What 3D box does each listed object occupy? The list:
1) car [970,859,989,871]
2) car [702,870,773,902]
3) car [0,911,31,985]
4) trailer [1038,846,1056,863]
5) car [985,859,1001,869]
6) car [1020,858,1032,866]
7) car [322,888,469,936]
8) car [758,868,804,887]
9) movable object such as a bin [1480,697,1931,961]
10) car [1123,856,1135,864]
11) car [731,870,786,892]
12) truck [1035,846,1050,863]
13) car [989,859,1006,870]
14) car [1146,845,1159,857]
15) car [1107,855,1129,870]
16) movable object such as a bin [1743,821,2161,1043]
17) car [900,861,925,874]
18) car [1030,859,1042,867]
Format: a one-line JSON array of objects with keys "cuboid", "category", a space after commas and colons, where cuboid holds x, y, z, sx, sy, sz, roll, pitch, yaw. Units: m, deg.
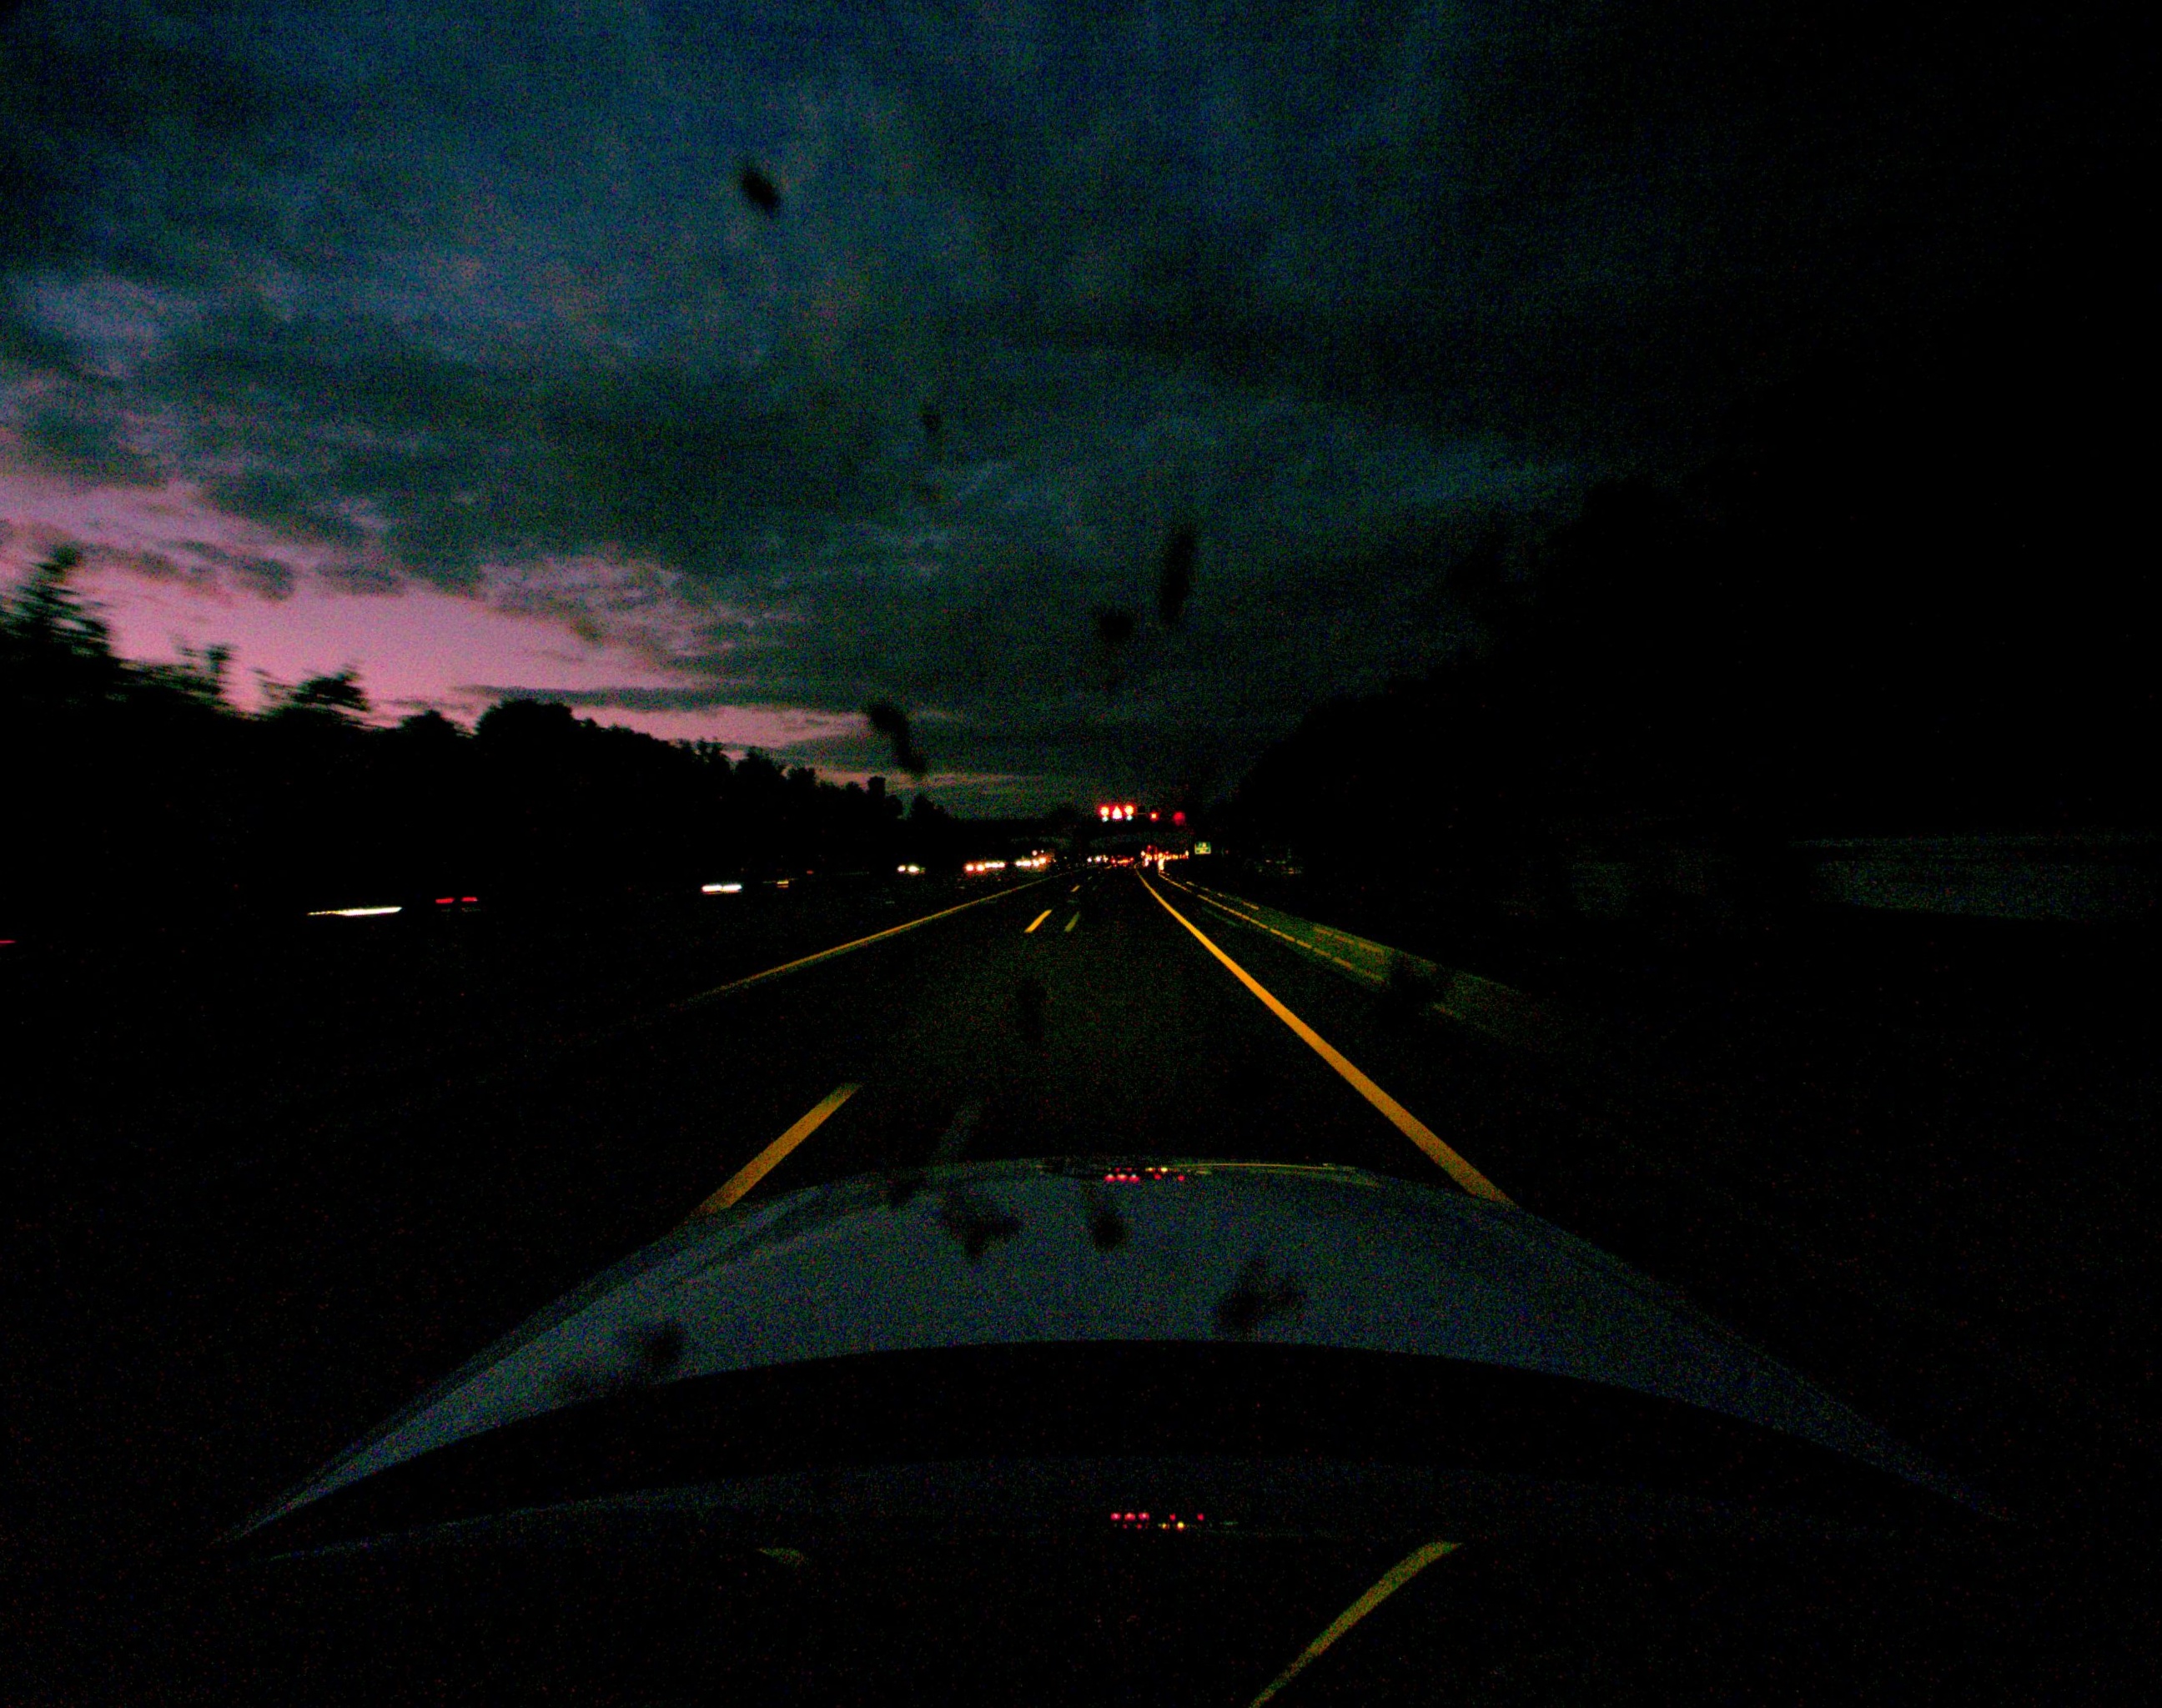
[{"cuboid": [-14.148, 1.570, 113.585, 1.671, 1.638, 4.756, 0, 0, 4], "category": "car"}, {"cuboid": [-20.275, 1.838, 48.307, 1.892, 1.738, 4.812, 0, 0, 4], "category": "car"}, {"cuboid": [-22.751, 1.903, 14.558, 1.743, 1.454, 4.674, 0, 0, 3], "category": "car"}, {"cuboid": [-8.660, 0.216, 209.927, 2.765, 4.206, 12.422, 0, 0, 6], "category": "trailer"}, {"cuboid": [-14.734, 1.692, 135.871, 1.729, 1.638, 5.176, 0, 0, 4], "category": "car"}, {"cuboid": [-11.064, 1.524, 163.329, 1.583, 1.604, 5.041, 0, 0, 6], "category": "car"}, {"cuboid": [-25.051, 2.063, 29.976, 1.657, 1.507, 4.182, 0, 0, 3], "category": "car"}, {"cuboid": [-24.964, 1.934, 67.996, 1.817, 1.485, 4.706, 0, 0, 4], "category": "car"}, {"cuboid": [8.943, -0.281, 12.723, 2.611, 3.108, 5.807, -2, -1, 1], "category": "movable object such as a bin"}, {"cuboid": [8.782, 1.176, 149.351, 1.961, 1.437, 4.008, 0, 0, 7], "category": "car"}, {"cuboid": [-22.915, 1.893, 58.088, 1.802, 1.485, 4.706, 0, 0, 4], "category": "car"}, {"cuboid": [-9.556, 0.154, 201.573, 2.763, 4.171, 6.396, 0, -1, 6], "category": "truck"}, {"cuboid": [-13.071, 1.659, 127.668, 1.796, 1.638, 4.756, 0, 0, 4], "category": "car"}, {"cuboid": [20.962, -0.735, 237.976, 3.590, 3.396, 8.020, 0, 0, 3], "category": "car"}, {"cuboid": [3.967, 0.895, 88.448, 2.257, 1.621, 4.001, 0, 0, 1], "category": "car"}, {"cuboid": [8.942, 0.553, 7.752, 1.986, 1.601, 4.087, -3, -1, 2], "category": "movable object such as a bin"}, {"cuboid": [-21.179, 1.659, 102.710, 1.796, 1.638, 4.756, 0, 0, 4], "category": "car"}, {"cuboid": [-8.685, 1.743, 158.208, 1.729, 1.638, 4.897, 0, 0, 4], "category": "car"}]
